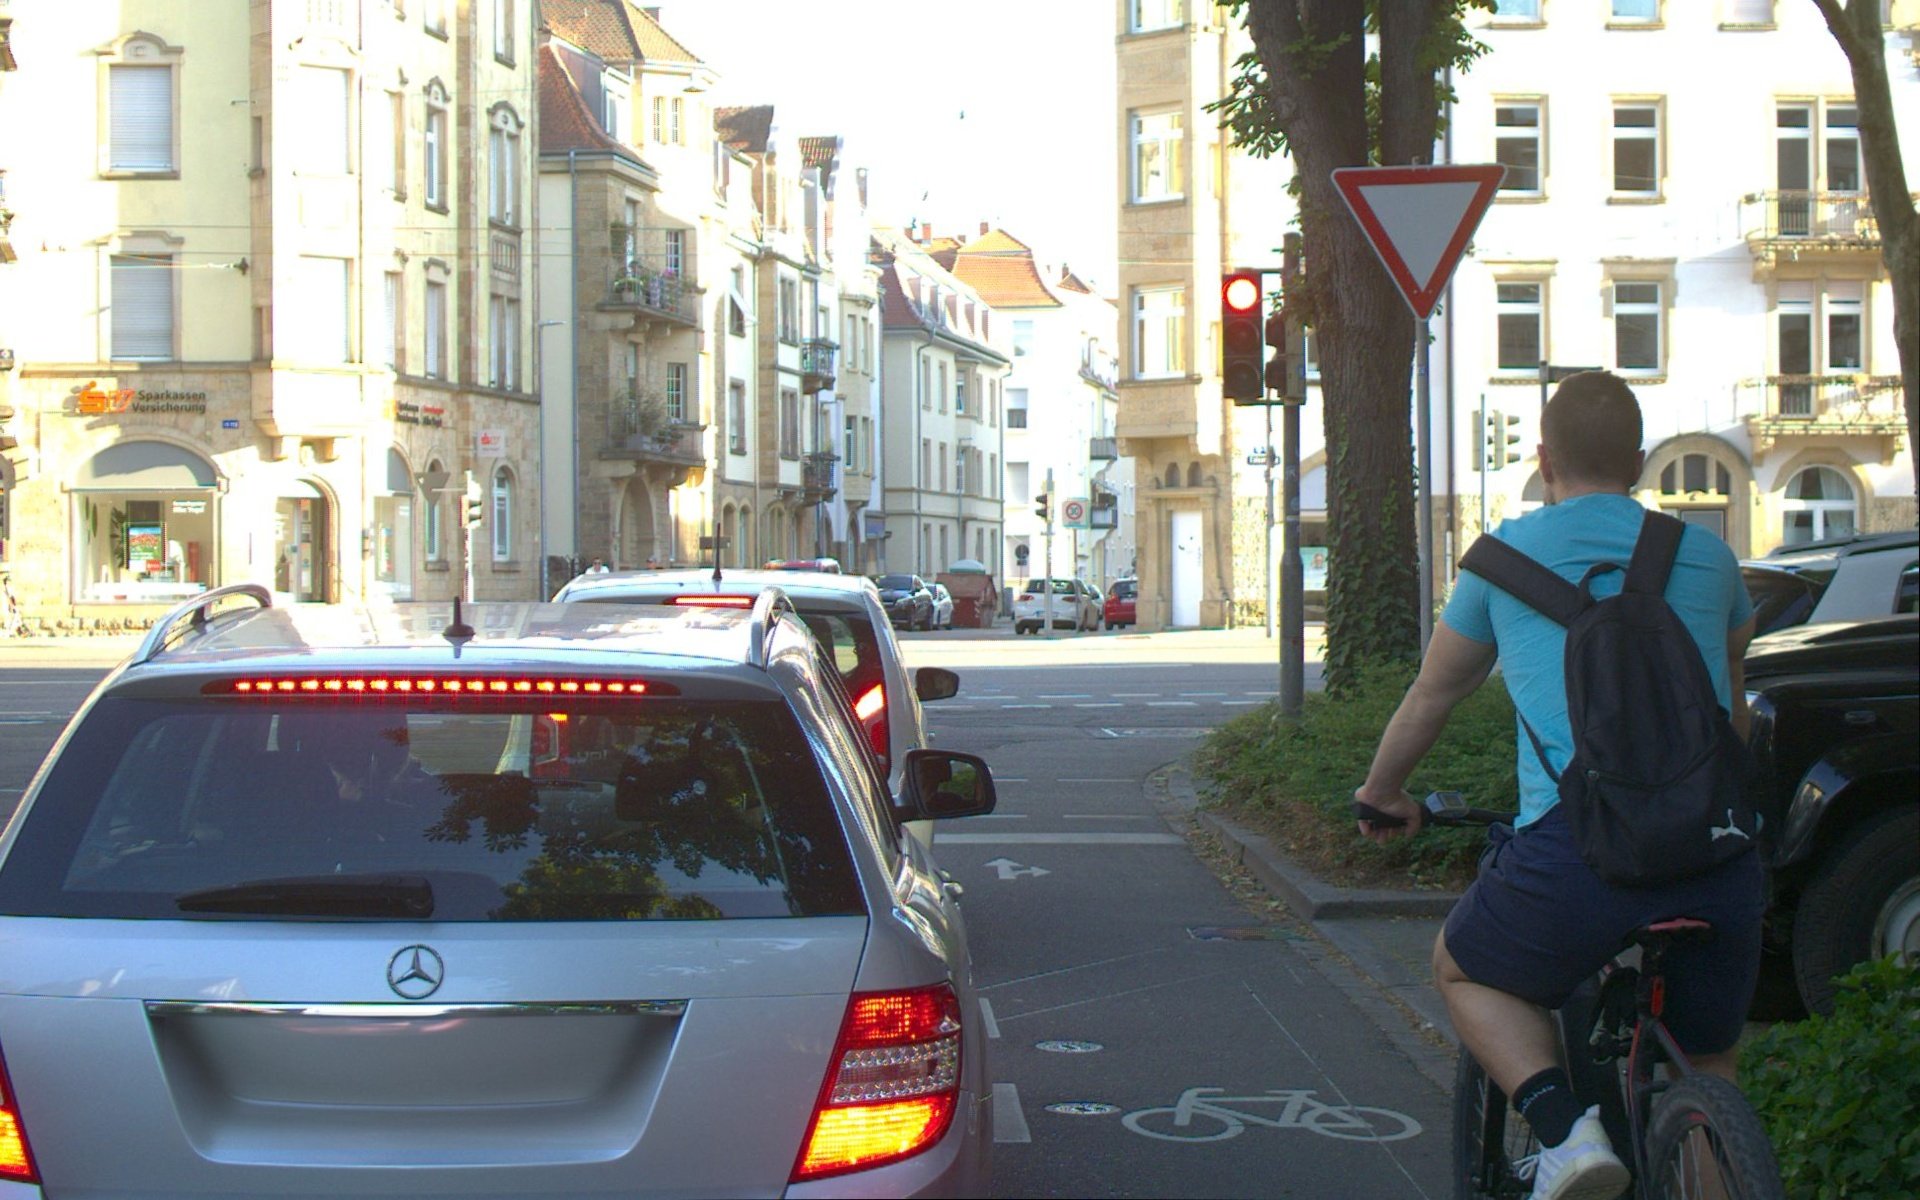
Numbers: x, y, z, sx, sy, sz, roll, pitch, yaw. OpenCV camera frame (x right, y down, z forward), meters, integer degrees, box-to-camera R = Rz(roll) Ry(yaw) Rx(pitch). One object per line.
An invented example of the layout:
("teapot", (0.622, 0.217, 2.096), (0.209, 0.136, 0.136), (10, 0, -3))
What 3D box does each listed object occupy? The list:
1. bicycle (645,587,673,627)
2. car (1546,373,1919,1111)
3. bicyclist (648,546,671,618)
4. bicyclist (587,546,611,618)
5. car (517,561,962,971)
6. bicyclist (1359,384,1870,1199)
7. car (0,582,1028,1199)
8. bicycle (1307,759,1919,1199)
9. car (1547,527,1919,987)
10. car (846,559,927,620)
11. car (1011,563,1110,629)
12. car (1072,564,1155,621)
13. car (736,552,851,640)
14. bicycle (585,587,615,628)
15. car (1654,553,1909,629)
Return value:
("bicycle", (-6.412, 0.140, 73.265), (0.568, 0.832, 1.566), (0, 1, -4))
("car", (4.193, 0.289, 10.184), (4.490, 1.949, 1.793), (-2, 1, -3))
("bicyclist", (-6.419, -0.390, 73.333), (0.466, 1.516, 0.694), (0, 1, -4))
("bicyclist", (-7.691, -0.387, 73.305), (0.466, 1.509, 0.655), (0, 1, -4))
("car", (-0.829, 0.556, 13.698), (1.533, 1.386, 3.600), (0, 1, -2))
("bicyclist", (1.033, 0.559, 5.604), (0.646, 1.769, 0.831), (1, 0, -1))
("car", (-0.857, 0.710, 6.467), (1.690, 1.424, 3.493), (1, 1, -3))
("bicycle", (1.055, 0.887, 5.619), (0.742, 1.114, 2.013), (1, 1, -1))
("car", (4.181, 0.501, 13.031), (3.480, 1.580, 1.711), (-2, 1, -6))
("car", (-2.158, -0.309, 102.435), (1.651, 1.777, 3.861), (0, 0, 11))
("car", (2.538, -0.118, 85.874), (1.722, 1.473, 3.998), (-2, 1, 12))
("car", (4.580, -0.238, 102.077), (1.722, 1.473, 3.998), (-4, 1, 12))
("car", (-3.831, -0.120, 79.806), (1.938, 1.952, 4.149), (0, 1, 8))
("bicycle", (-7.669, 0.151, 73.278), (0.568, 0.832, 1.566), (0, 1, -4))
("car", (11.913, -0.141, 49.942), (3.364, 1.065, 1.380), (0, 1, -1))
